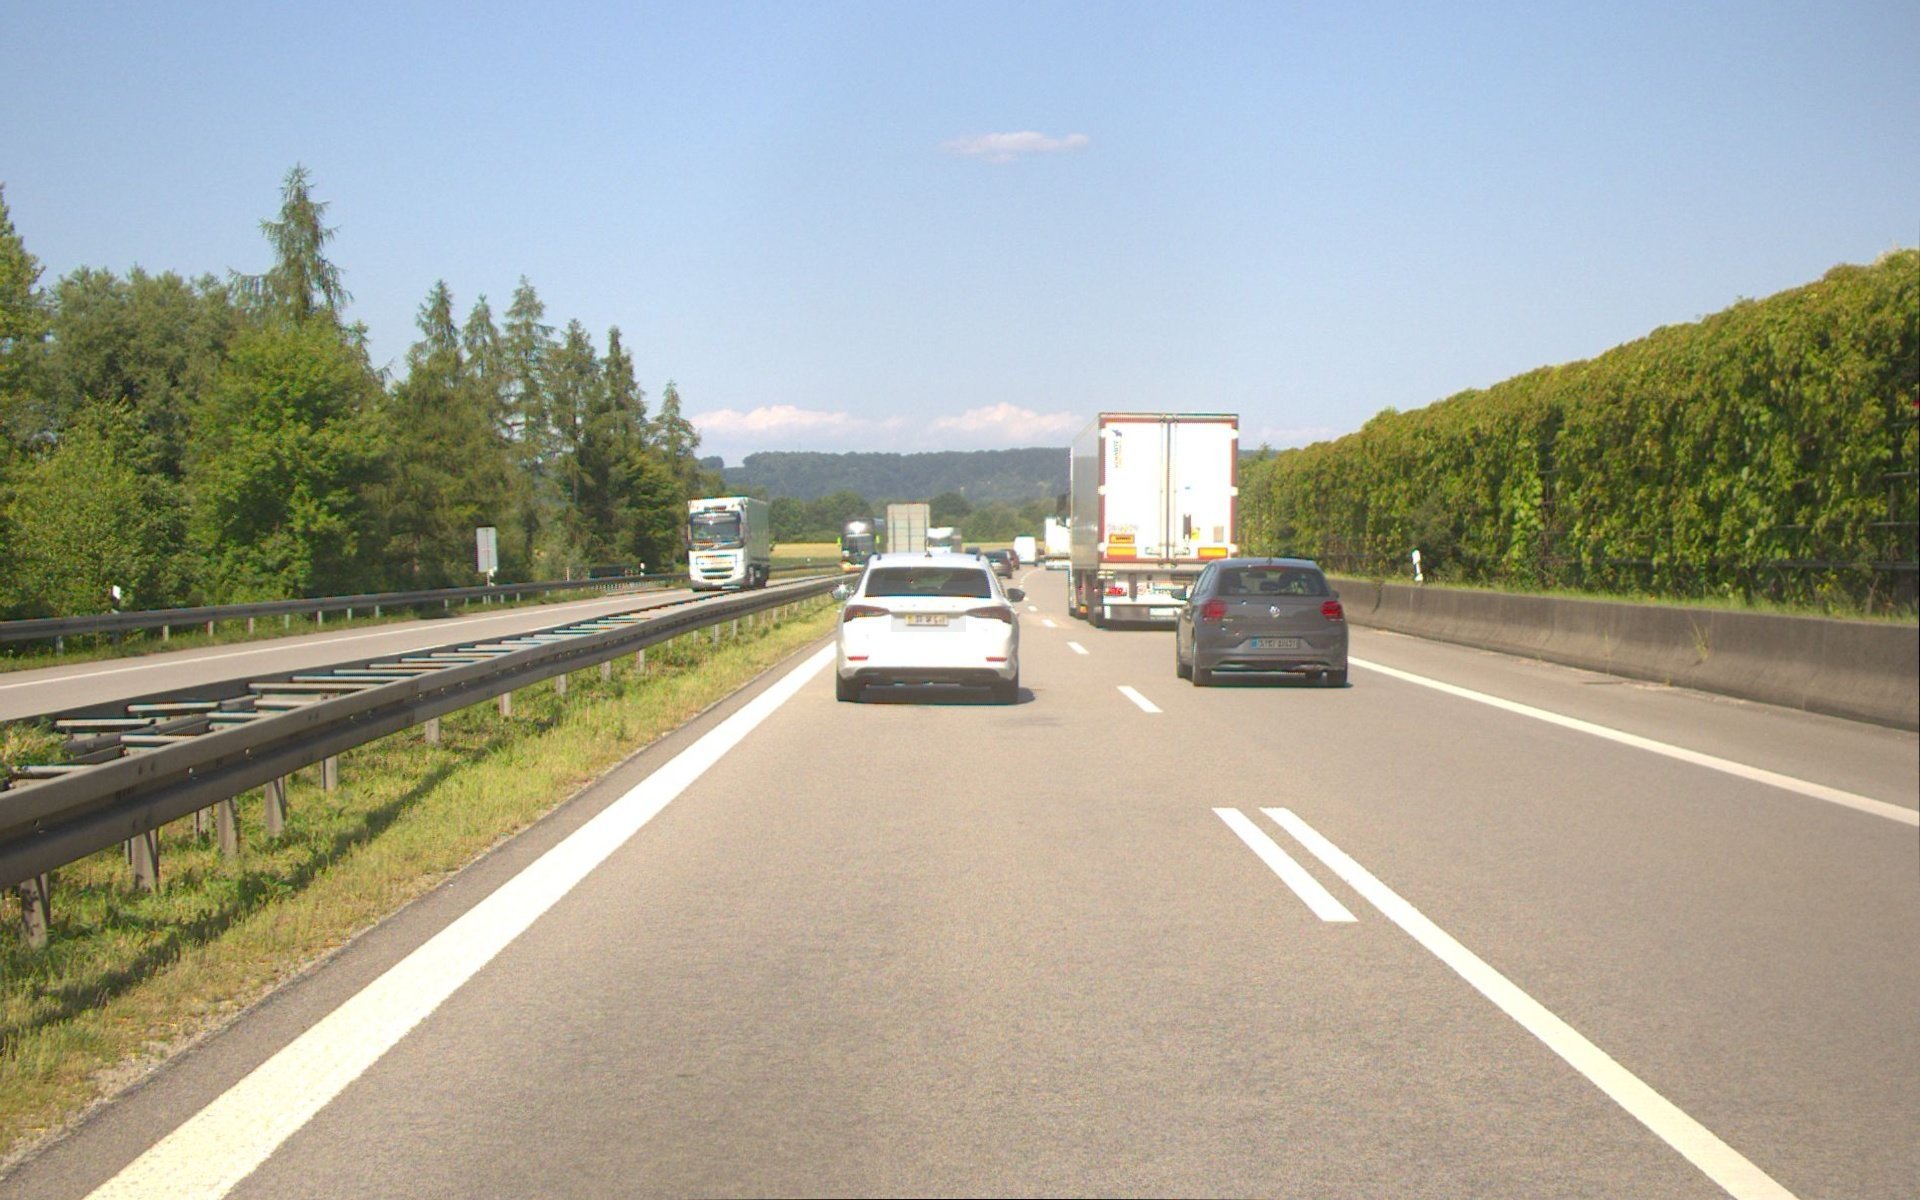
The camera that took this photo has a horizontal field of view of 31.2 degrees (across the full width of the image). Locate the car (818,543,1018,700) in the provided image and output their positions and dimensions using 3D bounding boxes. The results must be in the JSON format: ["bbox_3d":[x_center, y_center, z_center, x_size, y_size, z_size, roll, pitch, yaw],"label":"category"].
[{"bbox_3d":[-0.379,0.158,34.602,1.840,1.416,5.255,1,1,0],"label":"car"}]

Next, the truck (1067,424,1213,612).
[{"bbox_3d":[3.976,-1.824,77.245,2.840,3.953,7.044,-2,1,0],"label":"truck"}]

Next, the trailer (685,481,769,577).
[{"bbox_3d":[-10.327,-3.160,153.519,2.661,3.994,14.088,-2,1,0],"label":"trailer"}]

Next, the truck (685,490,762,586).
[{"bbox_3d":[-10.287,-2.725,150.080,2.644,3.994,7.193,-2,1,1],"label":"truck"}]

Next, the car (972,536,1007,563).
[{"bbox_3d":[1.548,-2.697,182.239,1.771,1.416,4.495,0,1,-1],"label":"car"}]

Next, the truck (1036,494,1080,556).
[{"bbox_3d":[7.355,-5.638,259.786,3.152,4.596,8.905,-1,1,1],"label":"truck"}]

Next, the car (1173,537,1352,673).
[{"bbox_3d":[3.404,0.014,39.377,1.665,1.449,4.544,1,1,0],"label":"car"}]

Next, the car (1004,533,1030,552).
[{"bbox_3d":[4.254,-4.288,257.602,1.771,1.416,4.364,0,1,3],"label":"car"}]

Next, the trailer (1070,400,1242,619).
[{"bbox_3d":[3.845,-1.814,70.539,2.818,3.953,14.160,-2,1,1],"label":"trailer"}]
